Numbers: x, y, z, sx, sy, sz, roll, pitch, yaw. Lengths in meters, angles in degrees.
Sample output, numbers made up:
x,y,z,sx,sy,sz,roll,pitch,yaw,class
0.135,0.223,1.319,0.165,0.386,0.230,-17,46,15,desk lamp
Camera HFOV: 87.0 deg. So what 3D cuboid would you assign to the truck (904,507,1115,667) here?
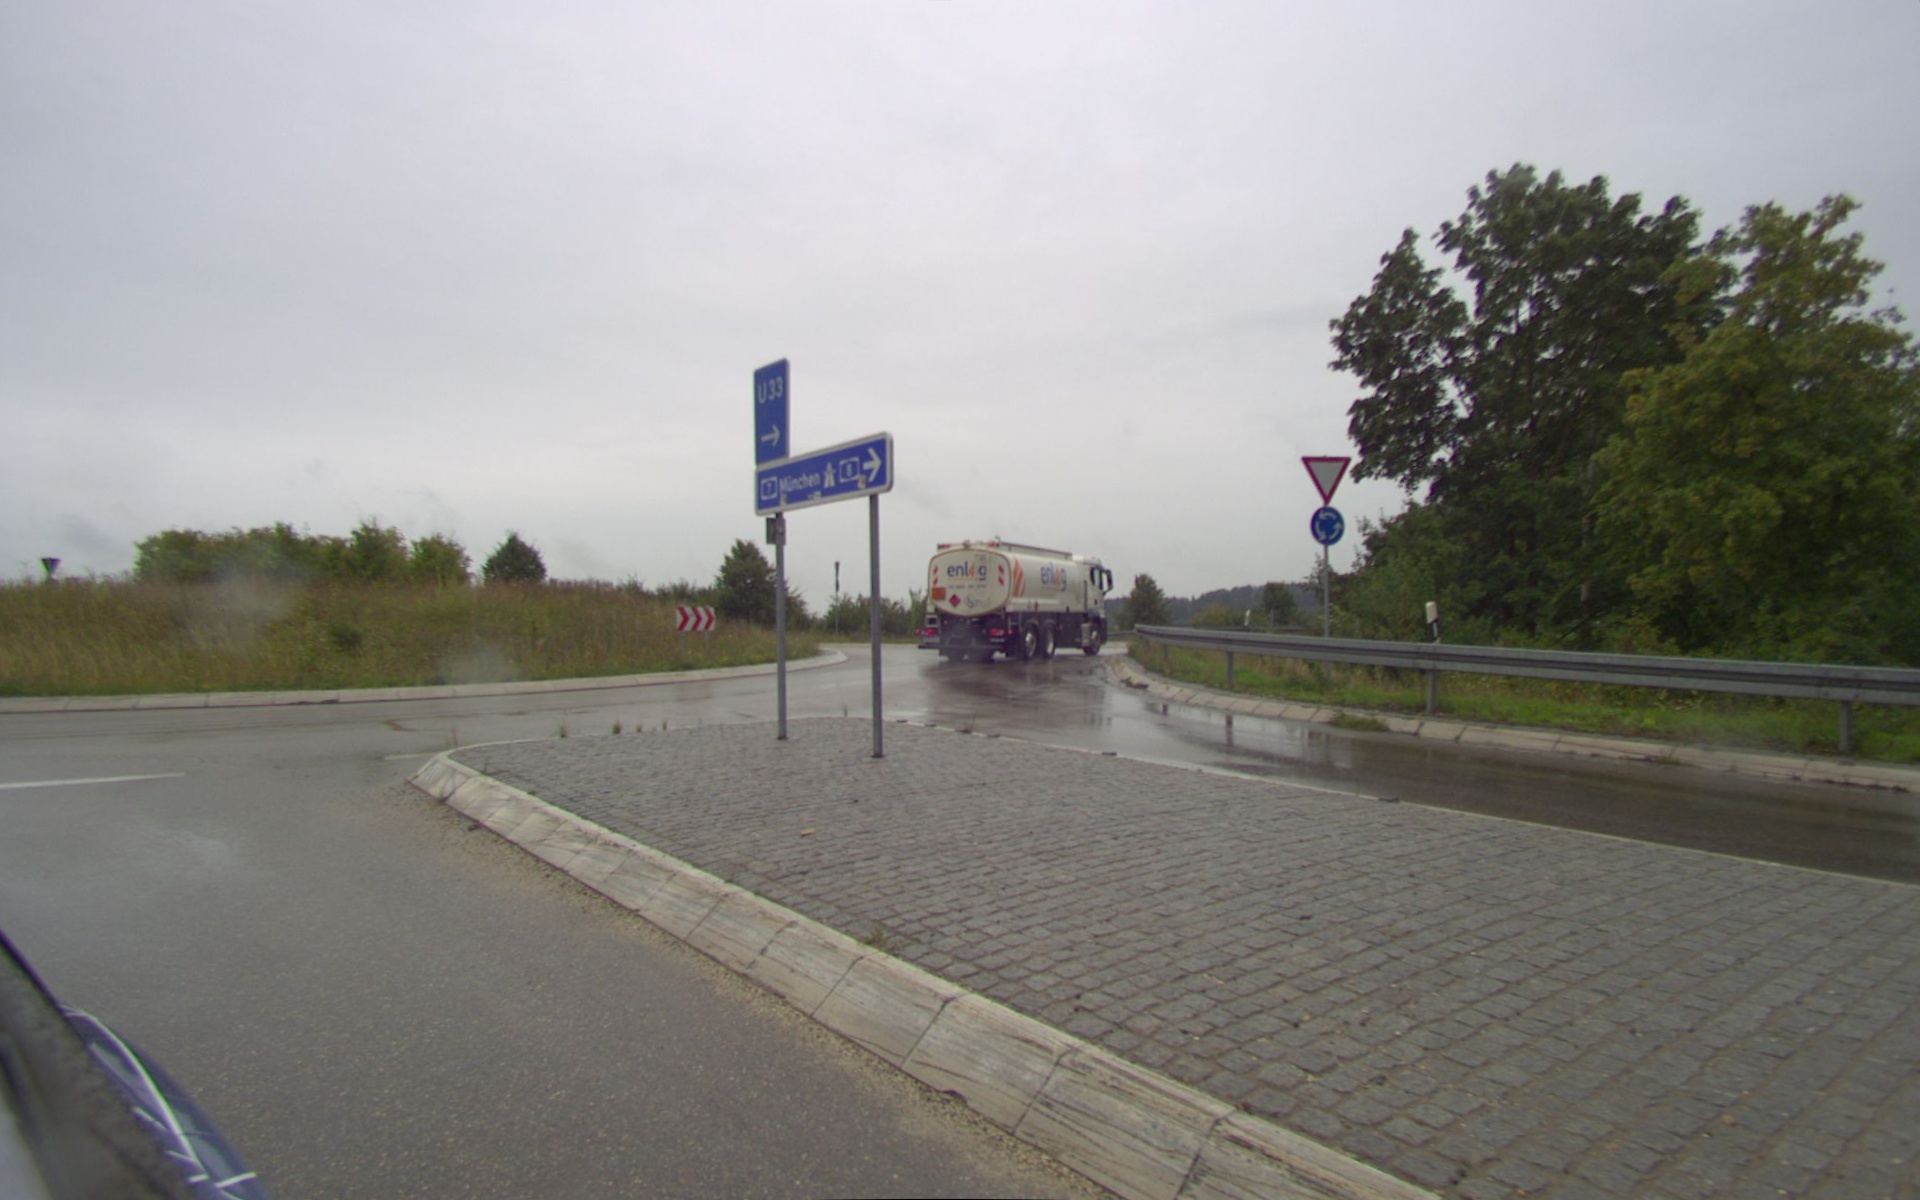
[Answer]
x,y,z,sx,sy,sz,roll,pitch,yaw,class
1.774,-0.262,29.244,3.032,3.881,8.748,-1,-1,25,truck
